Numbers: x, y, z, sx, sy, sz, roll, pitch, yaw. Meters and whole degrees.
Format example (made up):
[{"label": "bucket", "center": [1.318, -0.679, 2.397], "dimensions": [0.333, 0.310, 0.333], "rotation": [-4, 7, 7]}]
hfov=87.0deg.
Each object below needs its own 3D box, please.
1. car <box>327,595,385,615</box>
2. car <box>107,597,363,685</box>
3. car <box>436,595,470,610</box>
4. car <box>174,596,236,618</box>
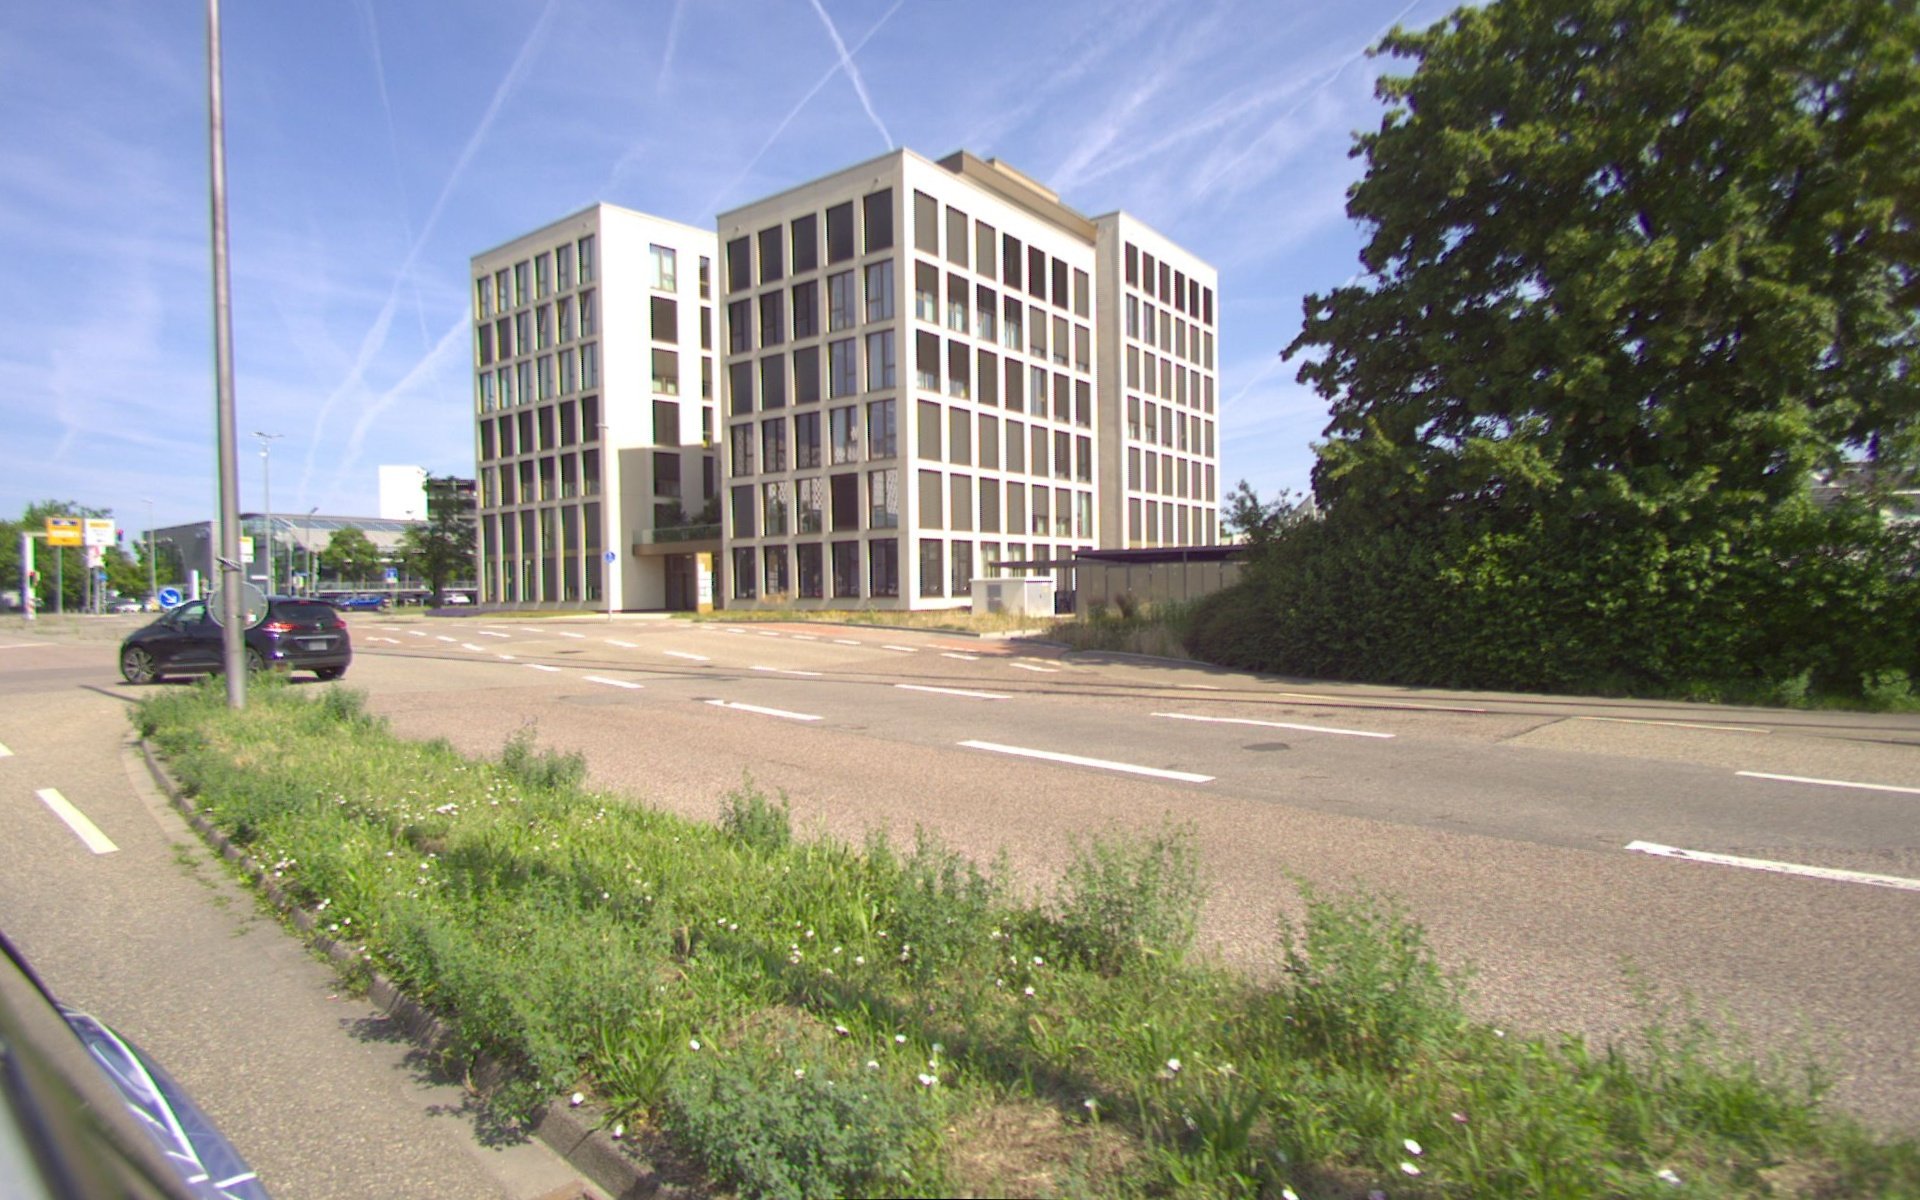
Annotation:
[{"label": "car", "center": [-56.332, 0.458, 94.402], "dimensions": [1.812, 1.861, 4.333], "rotation": [-1, 0, 44]}, {"label": "car", "center": [-13.678, 0.750, 19.145], "dimensions": [4.108, 1.541, 1.852], "rotation": [-1, -1, 17]}, {"label": "car", "center": [-56.023, 0.311, 111.784], "dimensions": [3.931, 1.584, 1.790], "rotation": [-1, 0, 36]}, {"label": "car", "center": [-66.657, 0.639, 89.409], "dimensions": [4.325, 1.861, 1.816], "rotation": [-1, 0, -38]}]
